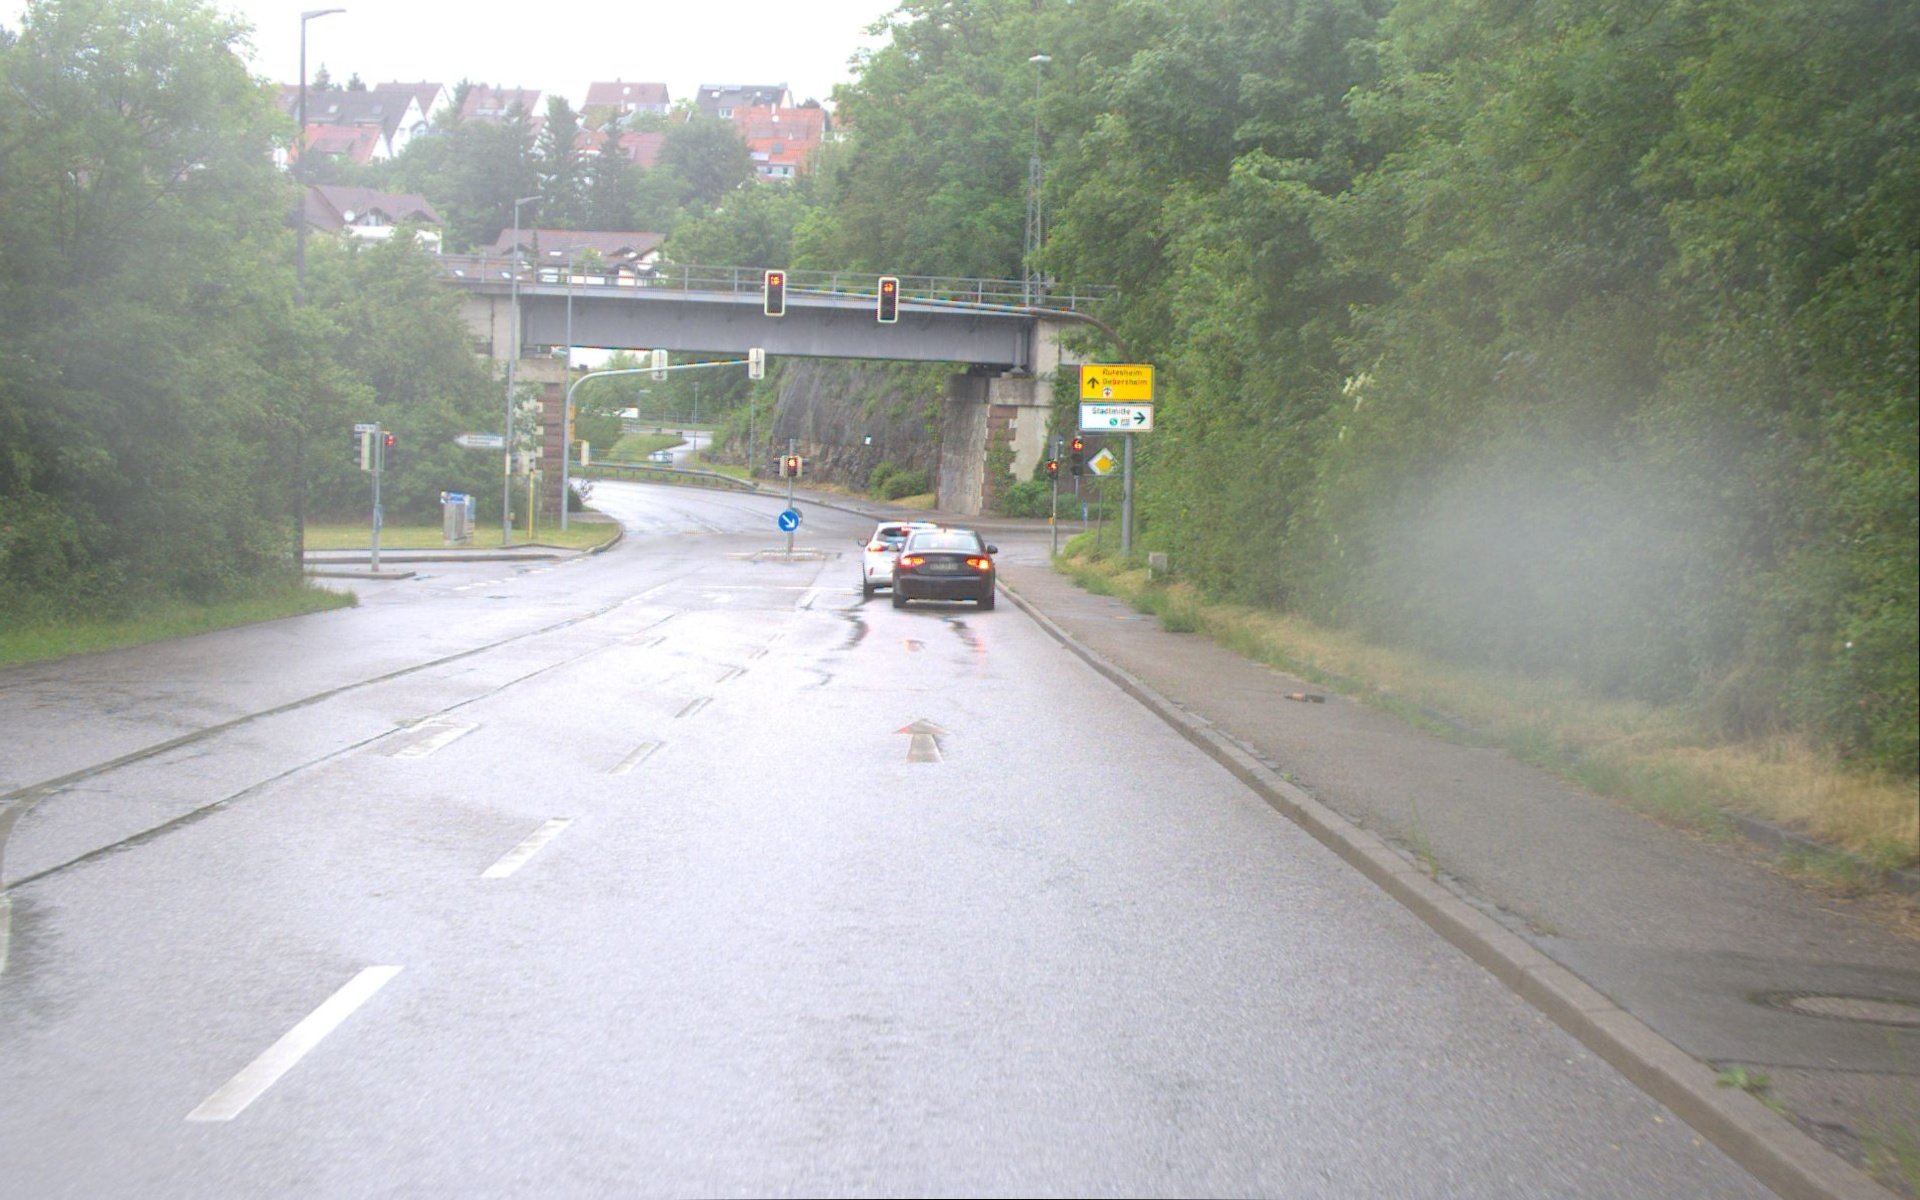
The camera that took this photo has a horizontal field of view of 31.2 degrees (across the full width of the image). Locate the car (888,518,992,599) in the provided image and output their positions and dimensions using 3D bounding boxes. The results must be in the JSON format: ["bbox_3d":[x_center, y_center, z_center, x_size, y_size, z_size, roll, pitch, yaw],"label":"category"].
[{"bbox_3d":[-0.349,-0.744,60.763,1.768,1.375,4.000,0,1,0],"label":"car"}]

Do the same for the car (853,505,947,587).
[{"bbox_3d":[-1.148,-1.066,67.427,1.768,1.557,4.000,0,1,0],"label":"car"}]
